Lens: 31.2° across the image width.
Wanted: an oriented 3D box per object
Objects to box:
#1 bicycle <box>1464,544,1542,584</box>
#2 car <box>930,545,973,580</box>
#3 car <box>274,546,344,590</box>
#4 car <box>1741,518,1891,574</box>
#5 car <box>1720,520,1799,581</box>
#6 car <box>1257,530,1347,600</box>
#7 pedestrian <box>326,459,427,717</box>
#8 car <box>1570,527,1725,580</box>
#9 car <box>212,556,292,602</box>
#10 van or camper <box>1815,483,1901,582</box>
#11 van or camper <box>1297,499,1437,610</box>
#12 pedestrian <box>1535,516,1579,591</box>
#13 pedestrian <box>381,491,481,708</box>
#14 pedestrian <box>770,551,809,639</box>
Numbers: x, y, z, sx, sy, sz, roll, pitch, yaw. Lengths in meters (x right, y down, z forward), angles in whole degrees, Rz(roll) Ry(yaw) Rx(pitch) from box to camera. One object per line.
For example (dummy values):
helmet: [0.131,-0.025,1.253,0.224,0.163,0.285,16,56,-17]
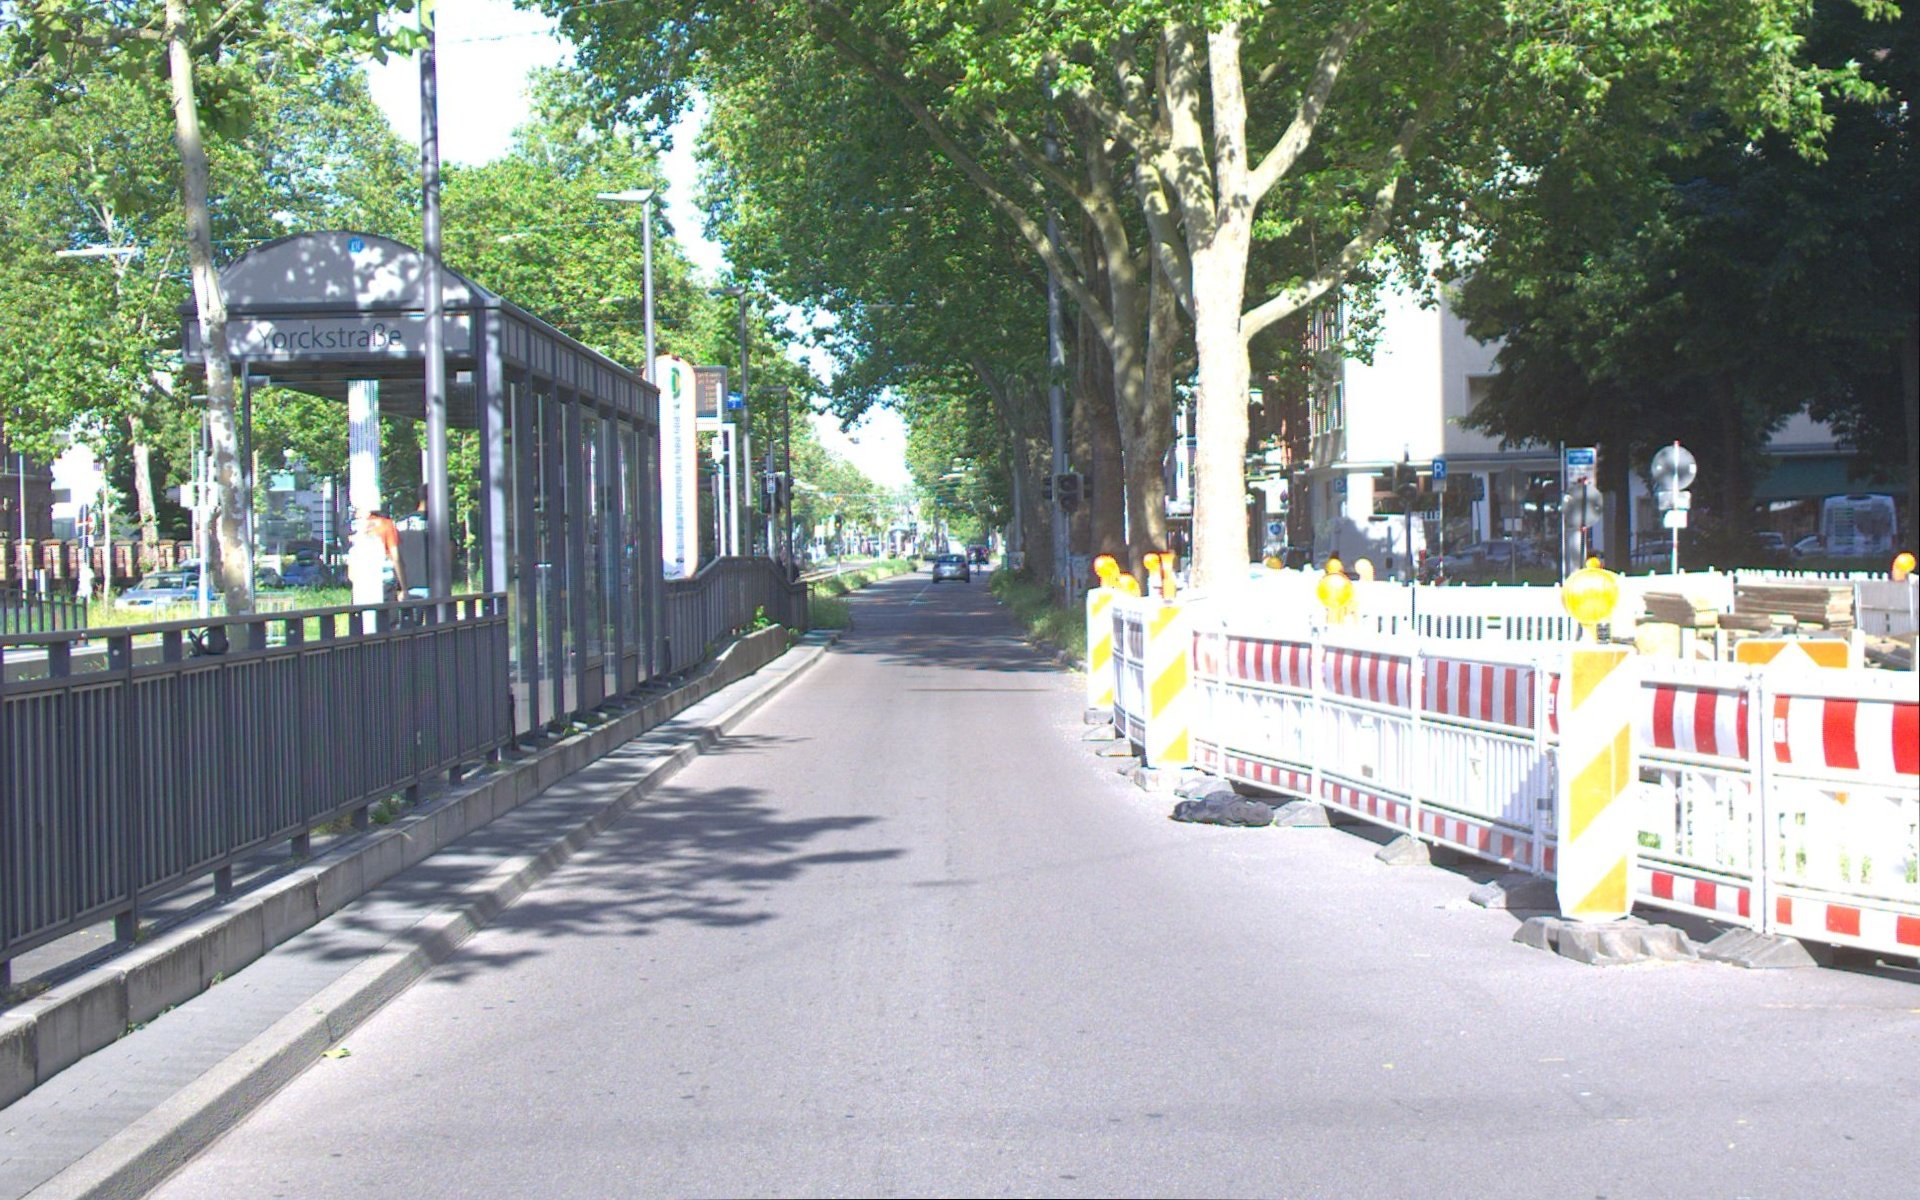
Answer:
bicycle: [15.543,-1.041,98.466,2.141,1.100,0.507,-1,1,25]
car: [-0.431,-1.831,166.498,2.021,1.656,4.000,-1,1,0]
car: [-27.108,-1.353,143.273,1.768,1.713,4.420,-1,1,4]
car: [26.328,-1.671,105.666,4.384,1.639,1.999,-1,1,16]
car: [22.279,-1.381,95.679,1.995,1.622,4.387,-1,1,15]
car: [8.927,-0.932,90.133,1.819,1.736,5.168,-1,1,0]
pedestrian: [-4.604,-0.103,27.178,0.667,2.007,0.716,0,1,-1]
car: [21.443,-1.461,107.187,4.589,1.575,1.999,-1,1,16]
car: [-27.271,-0.820,132.625,1.993,1.644,4.827,-1,2,1]
van or camper: [24.886,-1.866,95.172,2.148,2.627,5.584,-1,1,16]
van or camper: [8.777,-0.986,74.592,2.291,2.279,5.823,-1,1,0]
pedestrian: [12.954,-1.011,74.595,0.732,1.611,1.035,-1,1,0]
pedestrian: [-4.396,-0.013,28.608,0.682,1.778,0.754,0,1,1]
pedestrian: [-3.281,-0.104,66.226,0.712,1.674,0.772,-1,1,-1]
